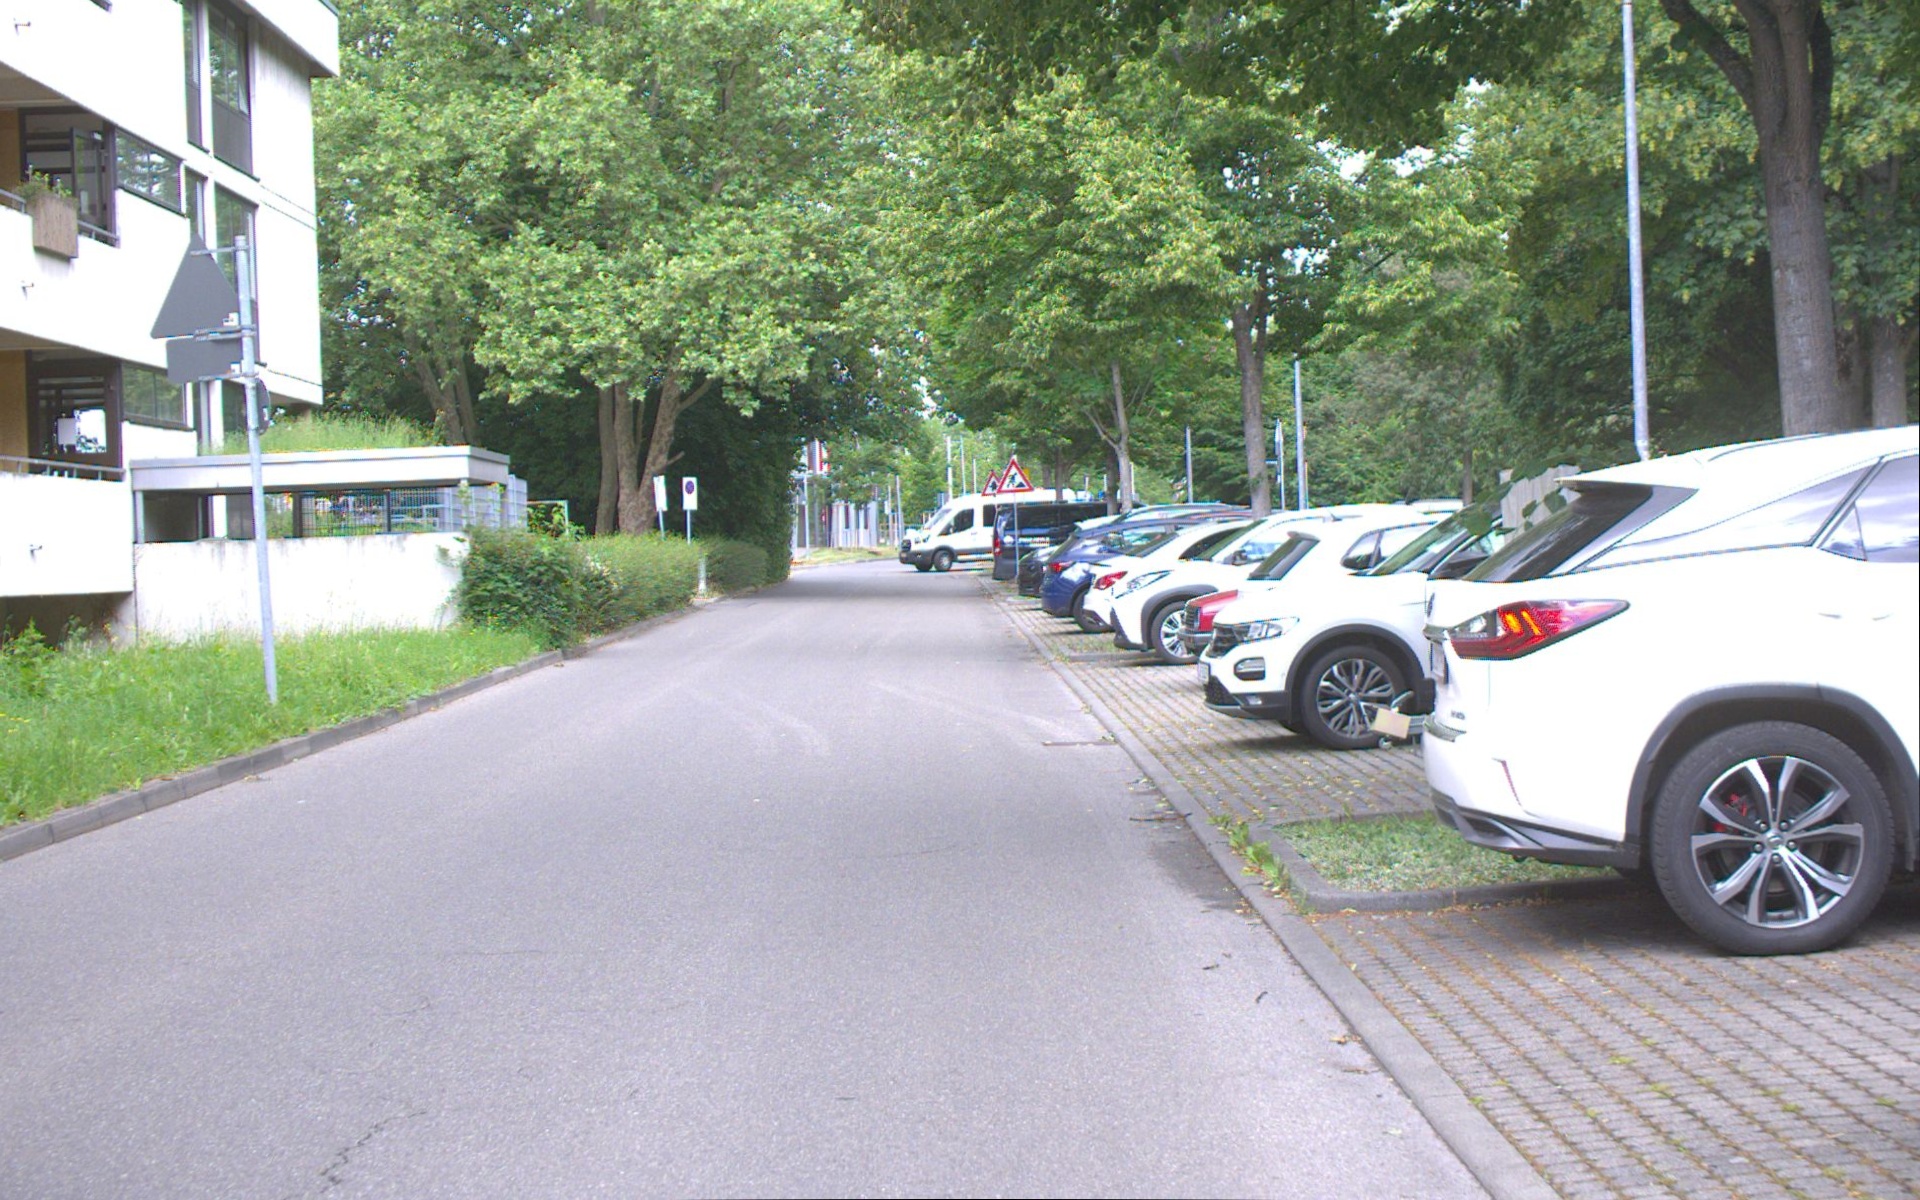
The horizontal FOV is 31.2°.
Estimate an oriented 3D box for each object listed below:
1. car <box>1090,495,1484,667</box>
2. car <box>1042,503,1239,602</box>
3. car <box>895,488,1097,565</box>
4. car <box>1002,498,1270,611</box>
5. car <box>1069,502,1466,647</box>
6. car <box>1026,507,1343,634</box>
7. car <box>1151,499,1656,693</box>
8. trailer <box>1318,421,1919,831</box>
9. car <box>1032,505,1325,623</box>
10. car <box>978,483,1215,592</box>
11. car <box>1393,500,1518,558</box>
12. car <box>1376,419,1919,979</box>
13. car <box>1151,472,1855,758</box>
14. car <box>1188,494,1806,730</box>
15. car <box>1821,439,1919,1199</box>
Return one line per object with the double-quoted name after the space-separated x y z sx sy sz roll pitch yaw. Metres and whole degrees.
3.300 -0.205 35.209 3.840 1.510 1.881 -3 1 3 "car"
3.231 -0.867 61.906 3.379 1.569 1.796 -3 2 0 "car"
1.174 -2.410 112.389 6.254 2.467 2.140 -1 1 -17 "car"
3.002 -0.797 59.300 4.415 1.670 2.082 -3 2 0 "car"
3.614 -0.314 40.996 4.485 1.449 1.846 -3 1 0 "car"
2.969 -0.409 46.131 4.072 1.451 1.851 -3 1 1 "car"
3.792 -0.049 29.889 4.054 1.417 1.817 -3 1 -1 "car"
3.438 0.097 16.956 3.029 1.784 1.563 -3 1 -3 "trailer"
3.228 -0.543 51.289 4.072 1.512 1.851 -3 1 -4 "car"
2.937 -1.359 74.715 4.954 2.007 2.166 -4 1 1 "car"
15.413 -2.218 107.072 3.780 1.662 1.767 -2 1 7 "car"
3.949 0.209 11.720 4.818 1.687 1.974 -3 1 3 "car"
3.419 0.074 22.166 4.112 1.542 1.861 -3 1 -3 "car"
3.805 0.068 24.761 4.007 1.417 1.792 -3 1 -5 "car"
3.941 0.399 6.456 4.158 1.565 1.851 -2 1 2 "car"
